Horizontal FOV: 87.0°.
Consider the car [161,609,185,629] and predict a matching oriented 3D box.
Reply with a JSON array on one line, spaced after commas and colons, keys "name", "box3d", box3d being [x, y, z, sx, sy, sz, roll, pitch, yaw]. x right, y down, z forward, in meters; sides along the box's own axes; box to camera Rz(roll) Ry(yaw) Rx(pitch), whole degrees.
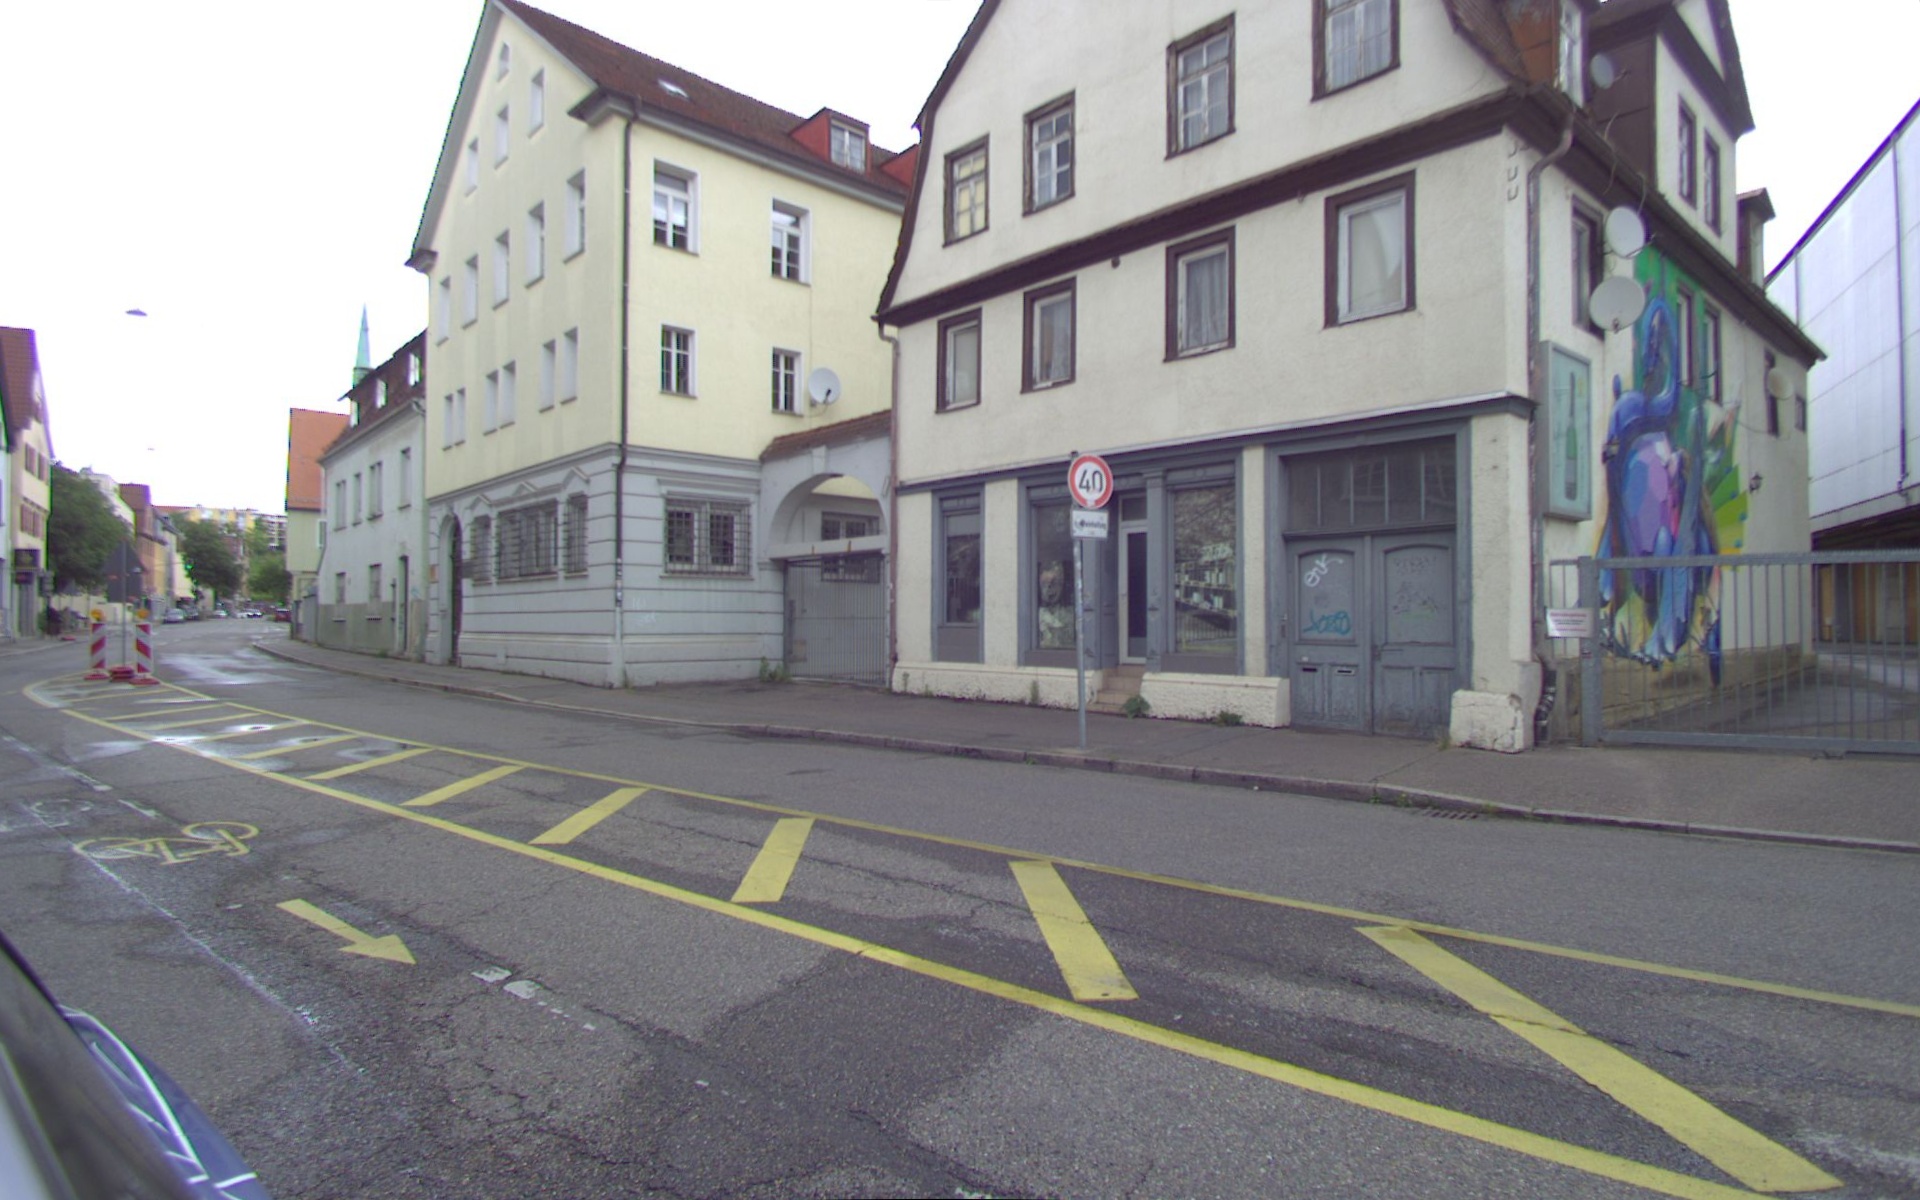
[{"name": "car", "box3d": [-84.789, 2.048, 109.050, 1.967, 2.029, 4.009, 1, -2, -37]}]

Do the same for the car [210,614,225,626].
[{"name": "car", "box3d": [-123.509, 3.308, 168.302, 1.967, 2.029, 4.009, 1, -2, -37]}]

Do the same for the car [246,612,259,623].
[{"name": "car", "box3d": [-140.695, 3.537, 201.324, 1.967, 2.029, 4.009, 1, -2, -37]}]

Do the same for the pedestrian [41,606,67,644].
[{"name": "pedestrian", "box3d": [-45.891, 1.280, 51.272, 0.864, 1.914, 0.899, 1, -2, -36]}]

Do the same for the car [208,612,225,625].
[{"name": "car", "box3d": [-114.764, 2.846, 156.231, 1.967, 2.029, 4.009, 1, -2, -37]}]

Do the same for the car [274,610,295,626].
[{"name": "car", "box3d": [-85.660, 2.318, 128.365, 2.027, 2.029, 4.009, 1, -2, -37]}]

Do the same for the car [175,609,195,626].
[{"name": "car", "box3d": [-97.025, 2.235, 126.773, 1.967, 2.029, 4.009, 1, -2, -37]}]
